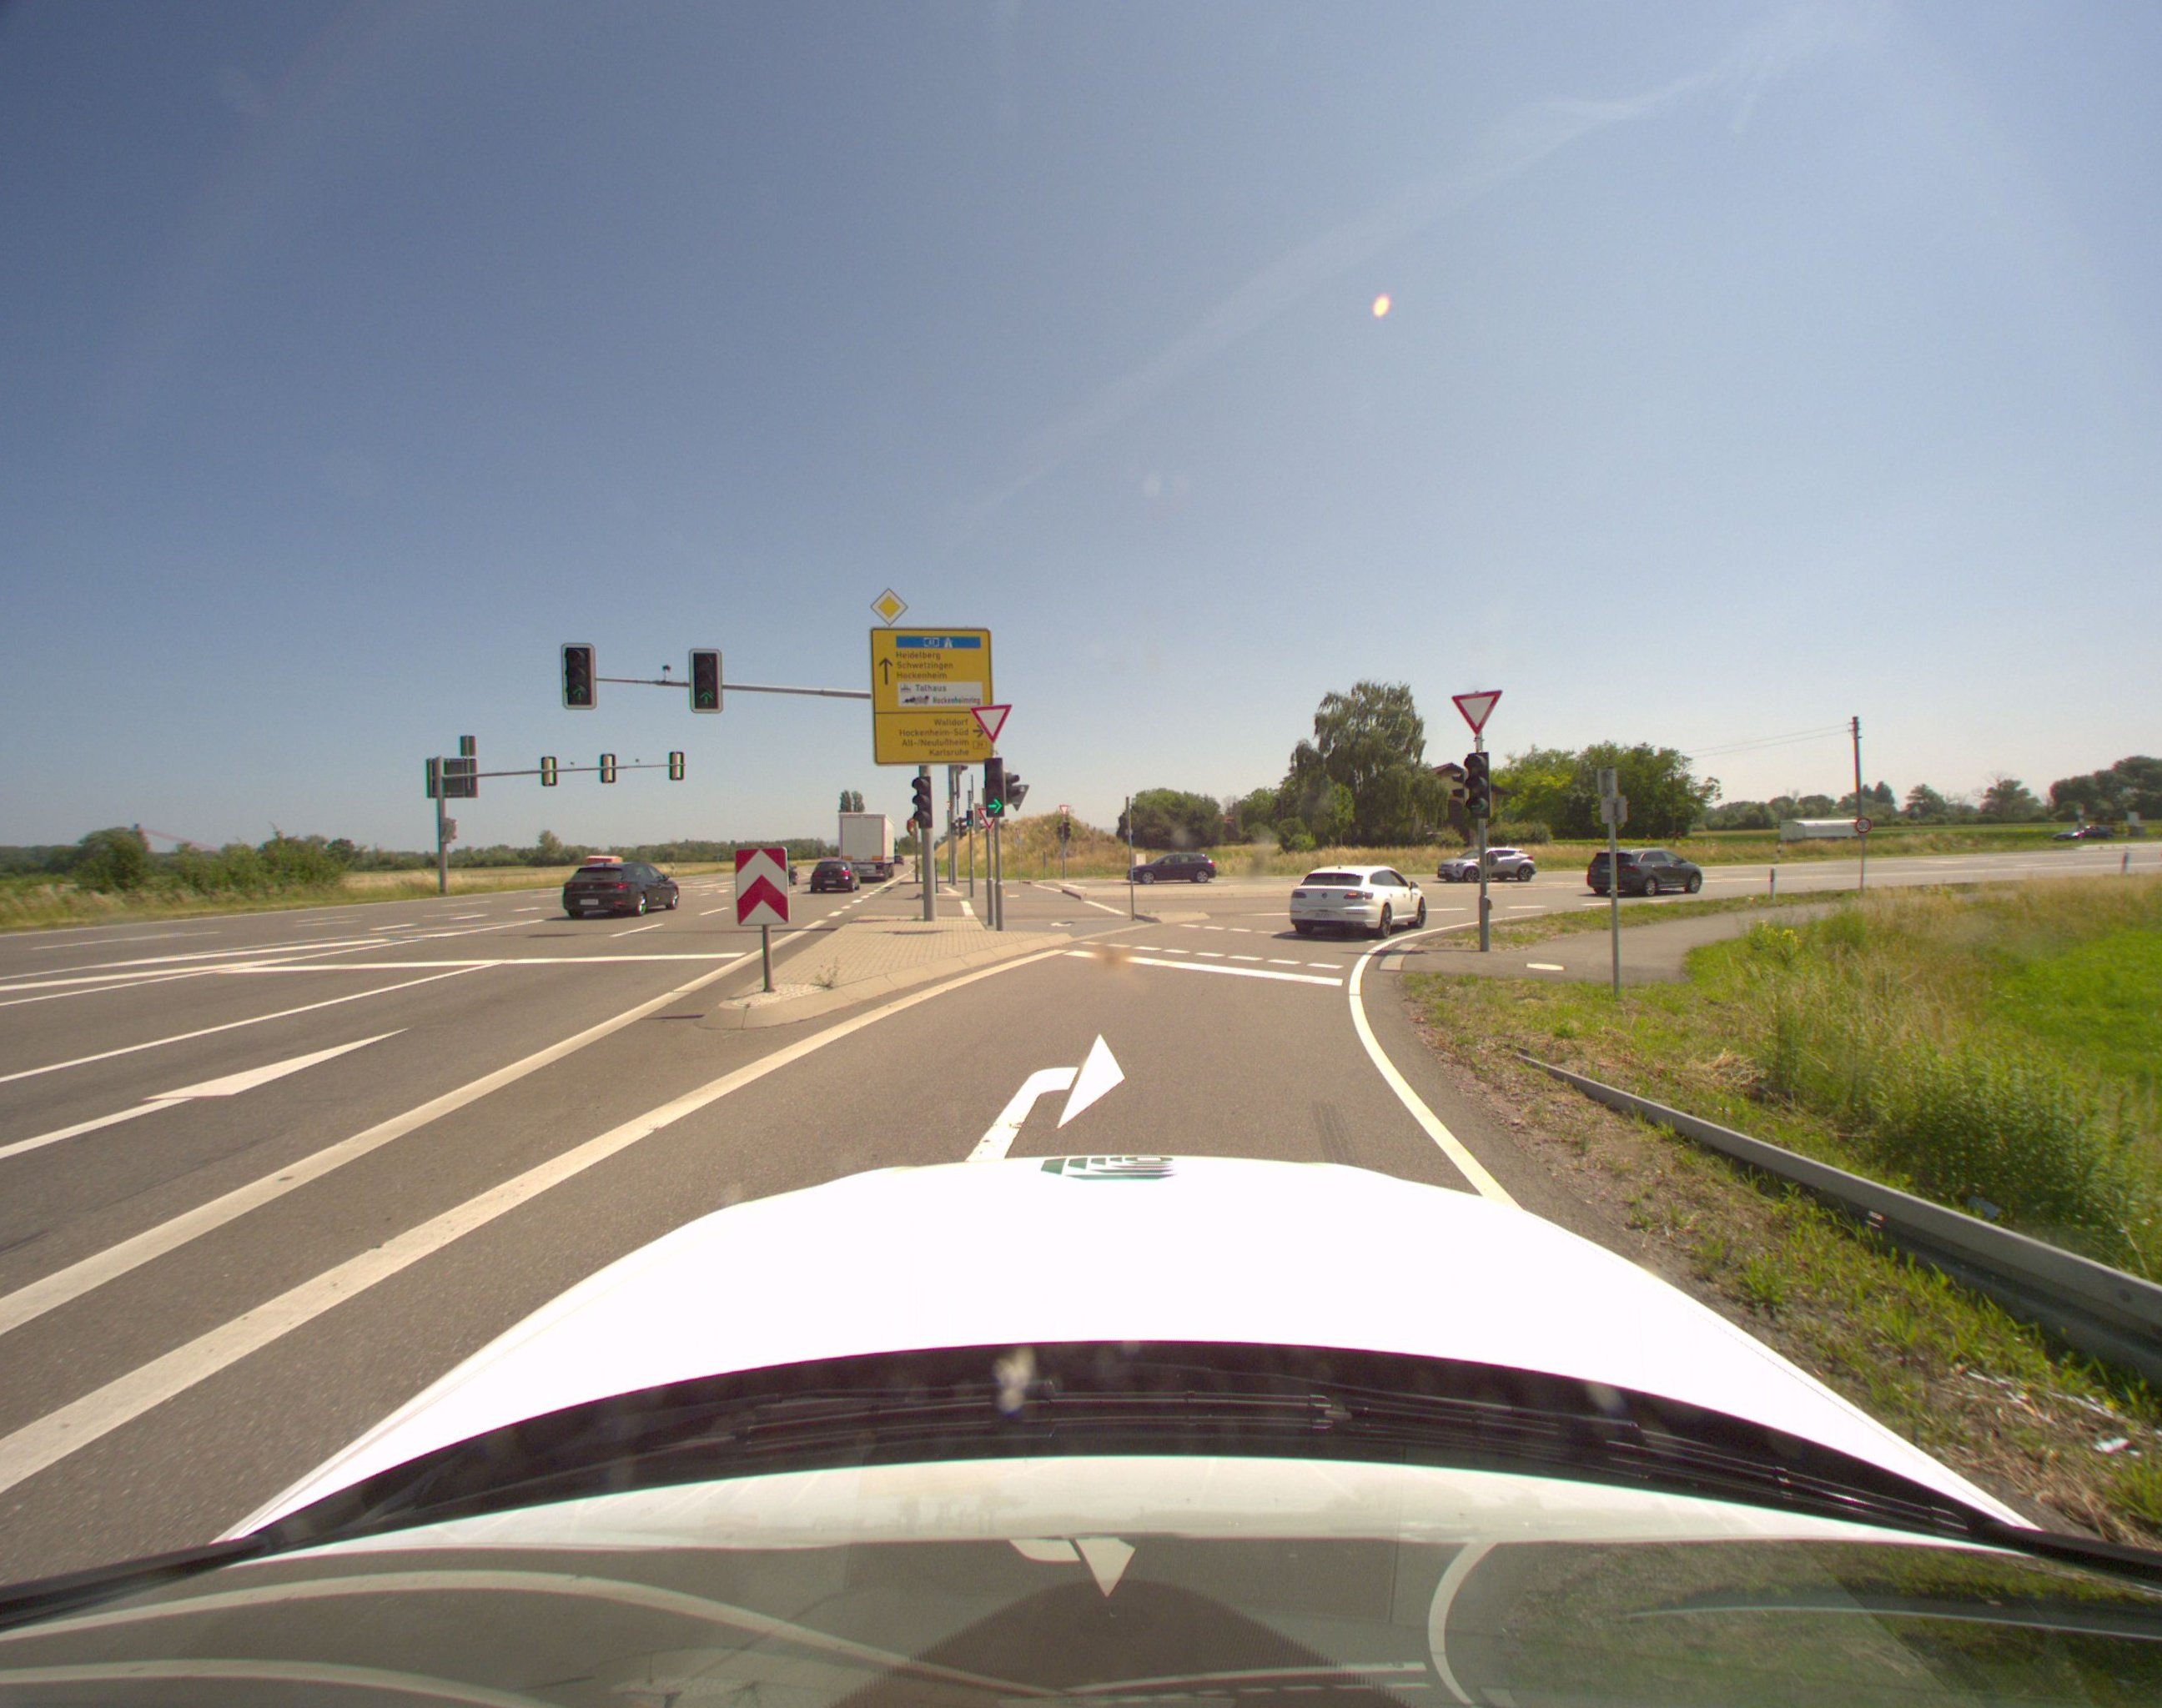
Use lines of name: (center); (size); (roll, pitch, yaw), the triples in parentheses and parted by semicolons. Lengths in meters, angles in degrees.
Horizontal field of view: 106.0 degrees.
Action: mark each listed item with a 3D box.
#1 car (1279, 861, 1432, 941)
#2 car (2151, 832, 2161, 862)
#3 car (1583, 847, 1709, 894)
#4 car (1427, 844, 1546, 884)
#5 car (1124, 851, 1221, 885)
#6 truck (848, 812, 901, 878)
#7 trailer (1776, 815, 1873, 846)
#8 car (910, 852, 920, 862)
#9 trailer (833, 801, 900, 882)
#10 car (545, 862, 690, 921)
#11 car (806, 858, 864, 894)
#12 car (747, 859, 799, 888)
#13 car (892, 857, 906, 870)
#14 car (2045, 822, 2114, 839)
car: (5.990, 0.894, 17.397); (1.830, 1.433, 4.637); (0, 0, 35)
car: (53.928, -0.375, 38.752); (4.074, 1.429, 1.802); (0, -1, -6)
car: (20.485, 0.572, 29.525); (4.388, 1.616, 1.924); (0, -1, -28)
car: (18.217, 0.421, 36.683); (4.530, 1.543, 1.868); (-2, 1, -6)
car: (4.303, 0.636, 38.671); (4.254, 1.368, 1.773); (-2, 1, -6)
truck: (-14.868, -0.595, 59.018); (3.383, 4.543, 6.348); (0, 0, -11)
trailer: (64.456, -2.017, 70.667); (6.350, 2.455, 2.683); (-2, 1, -5)
car: (-34.148, 0.607, 167.957); (1.982, 1.869, 4.448); (0, -1, -12)
trailer: (-13.469, -0.659, 52.160); (3.383, 4.543, 12.820); (0, 0, -12)
car: (-12.618, 0.954, 22.553); (1.887, 1.447, 4.514); (0, -1, -7)
car: (-10.727, 0.922, 35.793); (1.783, 1.431, 4.368); (0, 0, -8)
car: (-15.983, 0.971, 42.512); (1.674, 1.412, 4.452); (0, -1, -9)
car: (-28.026, 1.466, 125.273); (1.982, 1.894, 4.448); (0, -1, -12)
car: (84.484, -1.980, 68.929); (3.814, 1.387, 1.679); (-1, 2, -1)
